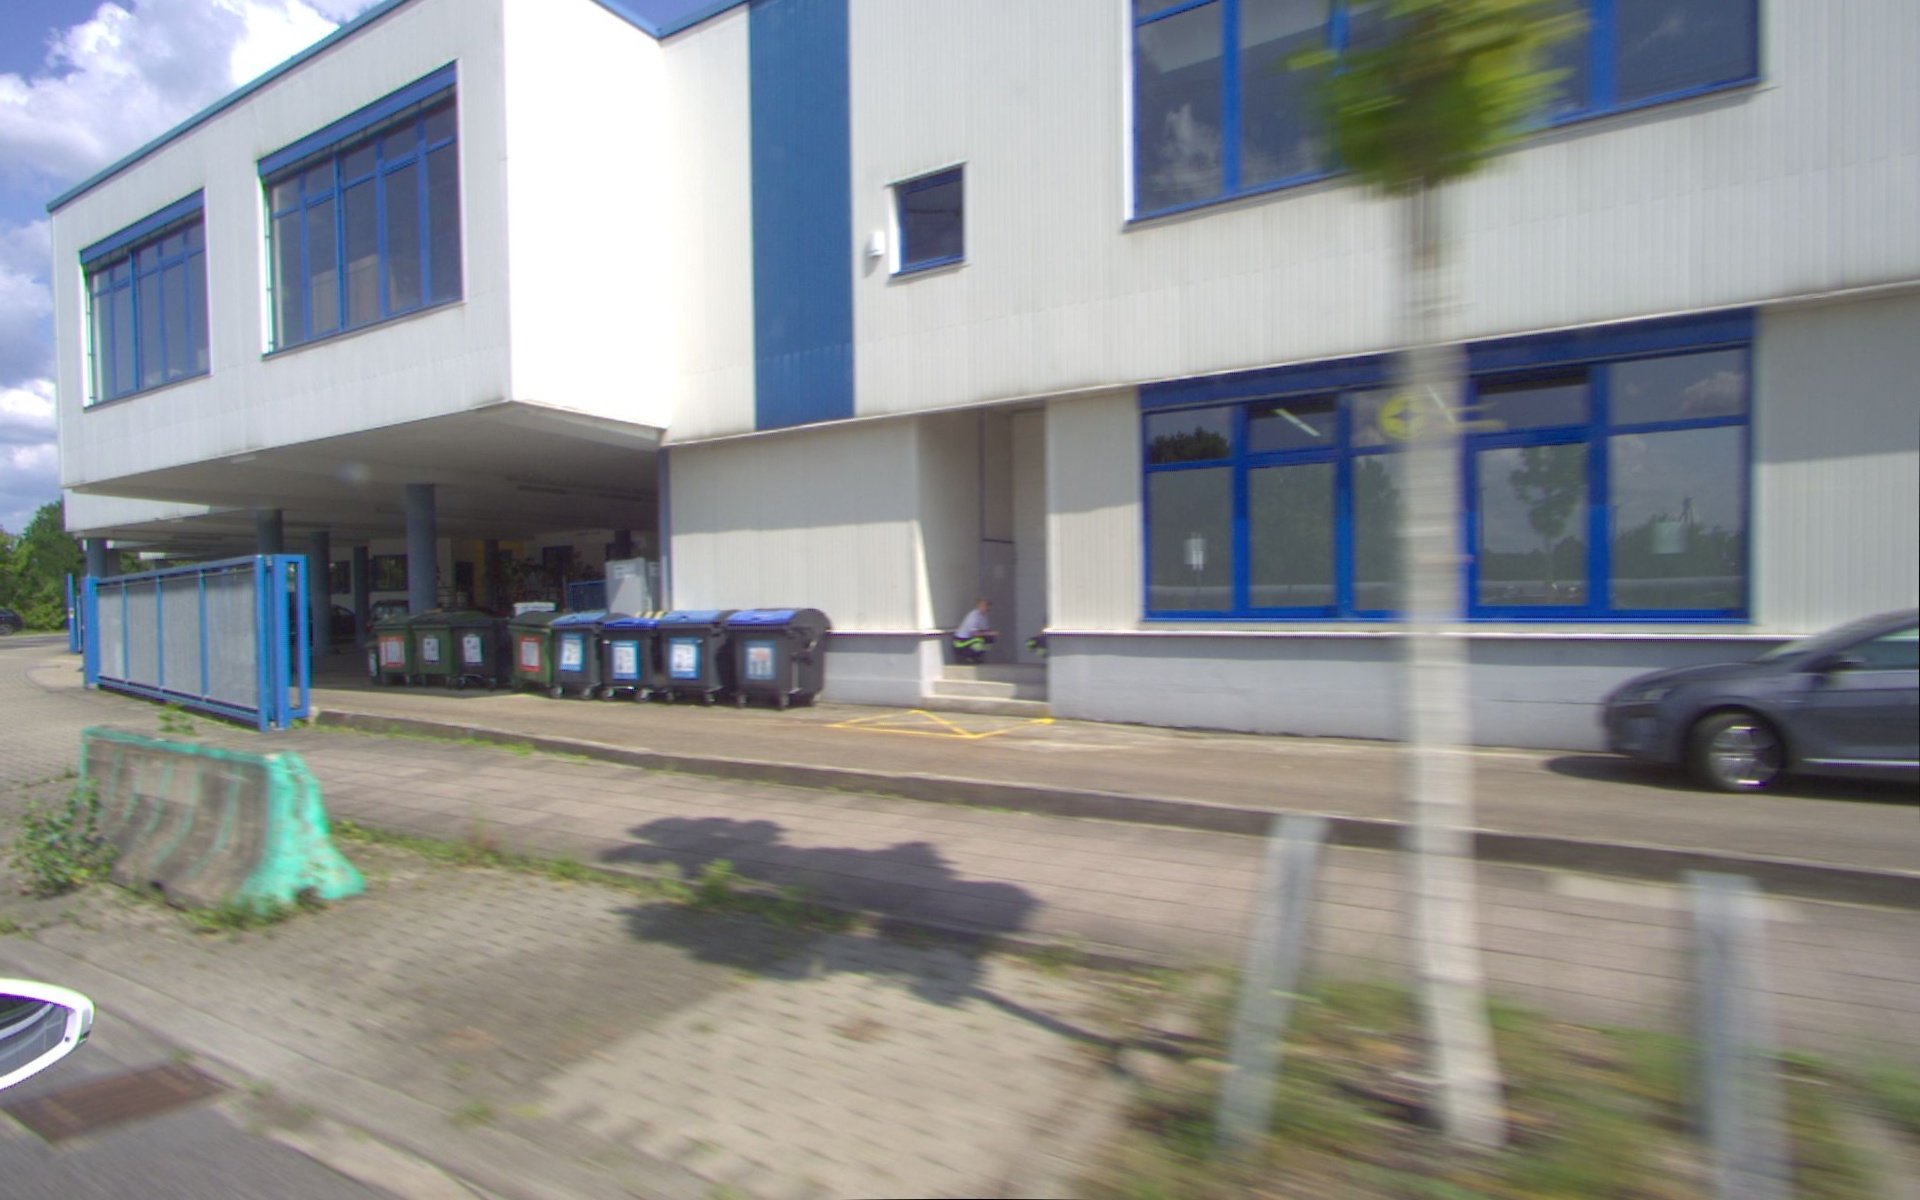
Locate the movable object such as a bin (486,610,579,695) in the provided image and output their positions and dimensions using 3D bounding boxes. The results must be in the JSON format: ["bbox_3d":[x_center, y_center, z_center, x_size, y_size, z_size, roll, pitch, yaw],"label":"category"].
[{"bbox_3d":[-7.485,0.892,17.540,1.405,1.432,0.803,-1,0,29],"label":"movable object such as a bin"}]

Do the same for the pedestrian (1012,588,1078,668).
[{"bbox_3d":[1.194,0.395,14.060,0.740,1.089,0.563,-1,-2,31],"label":"pedestrian"}]

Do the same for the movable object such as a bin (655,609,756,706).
[{"bbox_3d":[-3.941,0.866,15.530,1.338,1.432,0.803,-1,0,30],"label":"movable object such as a bin"}]

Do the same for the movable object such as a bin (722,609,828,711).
[{"bbox_3d":[-2.732,0.857,14.778,1.338,1.432,0.803,-1,0,30],"label":"movable object such as a bin"}]

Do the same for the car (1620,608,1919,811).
[{"bbox_3d":[7.328,0.776,7.595,3.798,1.422,1.493,-1,0,31],"label":"car"}]

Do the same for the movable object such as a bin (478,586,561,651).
[{"bbox_3d":[-15.052,0.593,34.383,1.406,2.113,3.435,0,0,-1],"label":"movable object such as a bin"}]

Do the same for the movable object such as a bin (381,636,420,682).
[{"bbox_3d":[-11.719,1.229,20.982,0.411,0.922,0.597,0,0,29],"label":"movable object such as a bin"}]

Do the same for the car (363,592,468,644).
[{"bbox_3d":[-20.082,0.613,37.145,1.725,1.804,4.104,0,0,-1],"label":"car"}]

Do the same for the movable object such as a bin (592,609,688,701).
[{"bbox_3d":[-5.207,0.865,16.301,1.338,1.432,0.803,-1,0,30],"label":"movable object such as a bin"}]

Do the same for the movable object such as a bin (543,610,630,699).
[{"bbox_3d":[-6.283,0.895,16.857,1.157,1.432,0.803,0,0,29],"label":"movable object such as a bin"}]

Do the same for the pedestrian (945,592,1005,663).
[{"bbox_3d":[0.223,0.408,14.830,0.700,1.026,0.563,-1,-2,31],"label":"pedestrian"}]

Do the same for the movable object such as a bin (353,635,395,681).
[{"bbox_3d":[-12.513,1.235,21.383,0.536,0.956,0.587,0,0,29],"label":"movable object such as a bin"}]

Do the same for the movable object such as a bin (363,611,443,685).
[{"bbox_3d":[-11.104,0.933,19.973,1.337,1.432,0.803,-1,0,29],"label":"movable object such as a bin"}]

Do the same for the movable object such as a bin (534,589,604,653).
[{"bbox_3d":[-13.327,0.691,34.260,1.292,2.113,2.916,0,0,-1],"label":"movable object such as a bin"}]

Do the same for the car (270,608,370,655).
[{"bbox_3d":[-26.945,1.274,42.284,1.638,1.682,3.659,1,3,4],"label":"car"}]

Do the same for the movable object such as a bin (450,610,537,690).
[{"bbox_3d":[-8.667,0.903,18.609,1.384,1.432,0.803,-1,0,29],"label":"movable object such as a bin"}]

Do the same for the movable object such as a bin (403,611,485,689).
[{"bbox_3d":[-9.932,0.943,19.273,1.337,1.432,0.803,-1,0,29],"label":"movable object such as a bin"}]

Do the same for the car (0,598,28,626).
[{"bbox_3d":[-55.797,0.690,56.977,1.860,1.590,3.625,-1,0,27],"label":"car"}]

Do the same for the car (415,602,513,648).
[{"bbox_3d":[-17.850,0.872,36.228,1.807,1.566,3.663,0,0,-1],"label":"car"}]
